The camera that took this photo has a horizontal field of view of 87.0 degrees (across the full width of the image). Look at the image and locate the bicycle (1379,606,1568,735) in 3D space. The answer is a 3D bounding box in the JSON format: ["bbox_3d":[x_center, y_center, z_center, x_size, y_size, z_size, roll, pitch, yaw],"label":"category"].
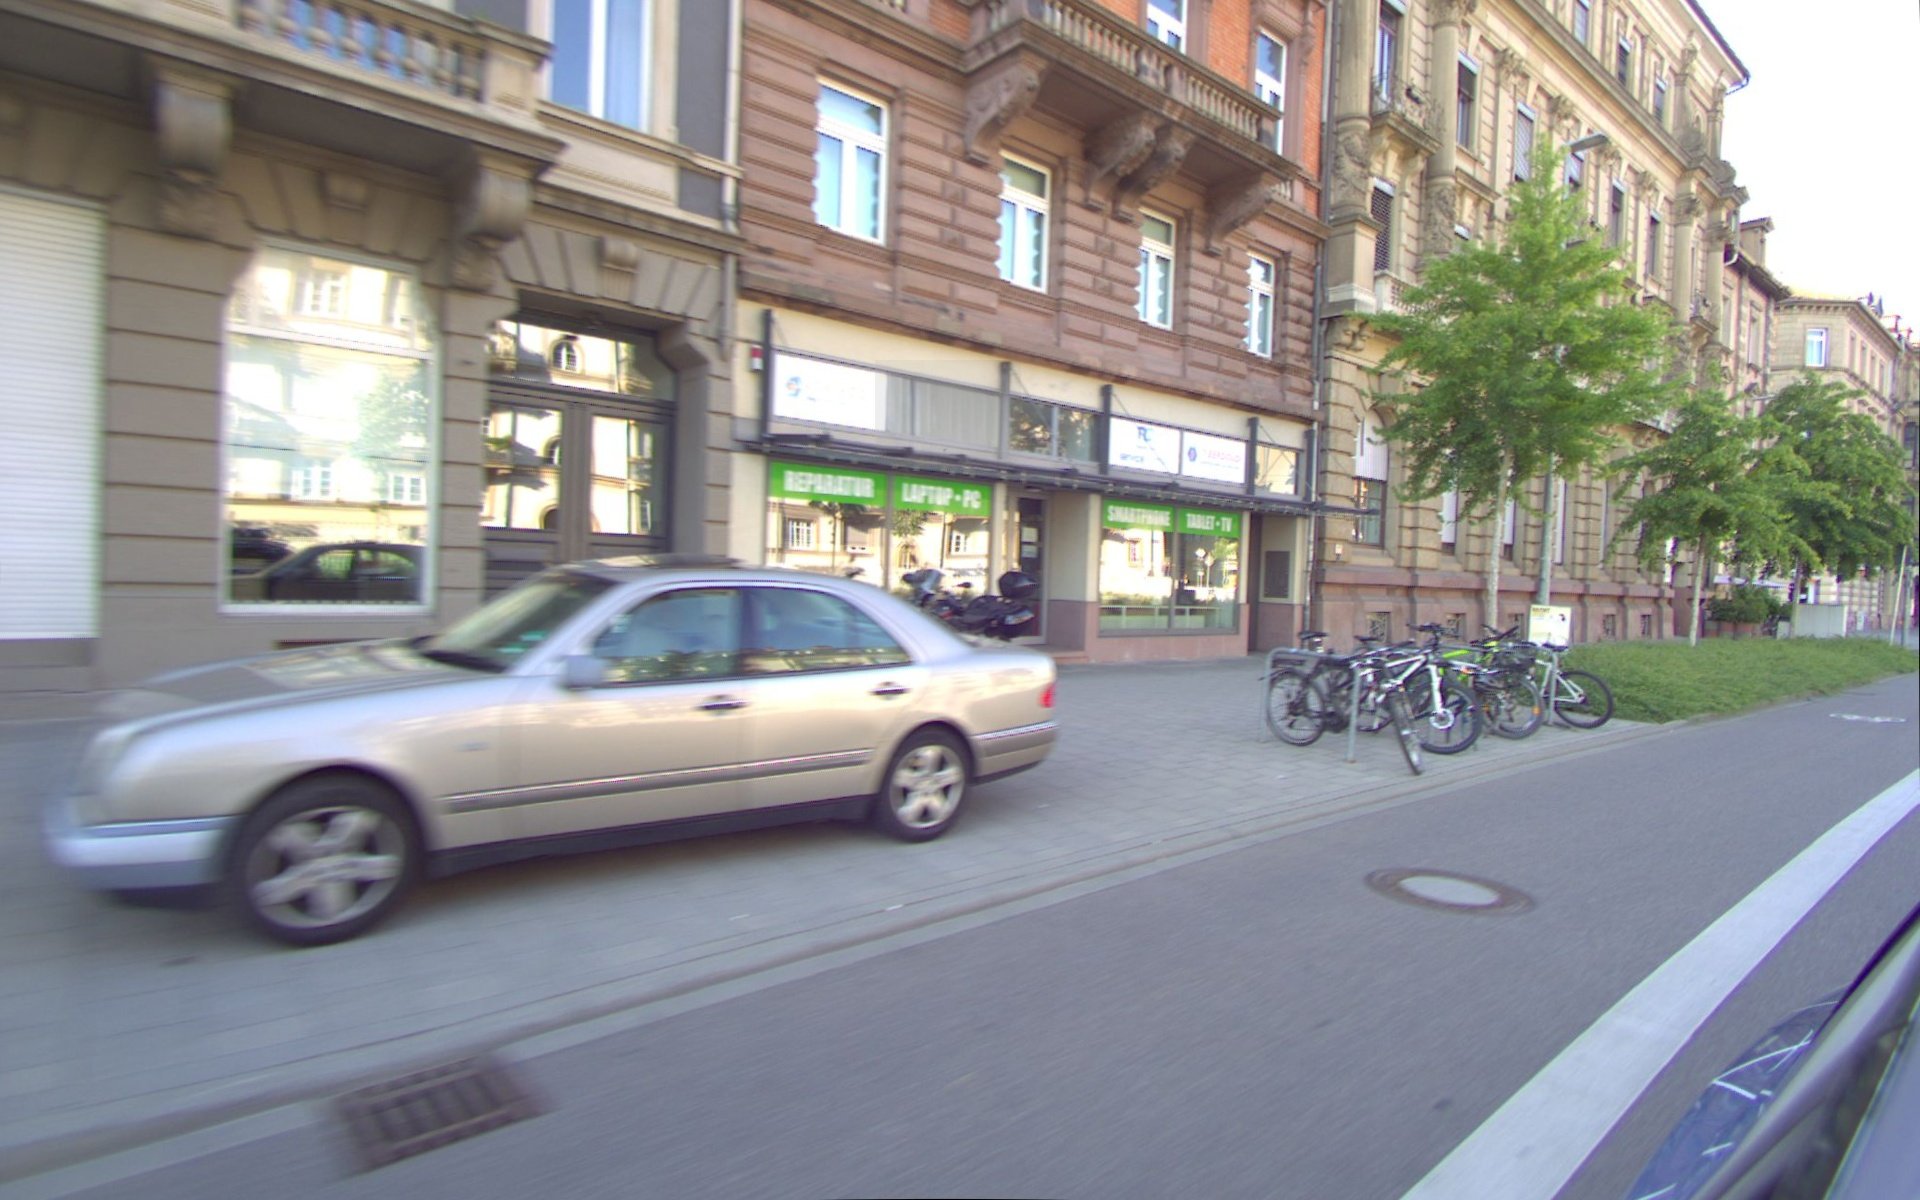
[{"bbox_3d":[5.148,0.659,10.229,0.566,1.132,1.585,1,1,-37],"label":"bicycle"}]

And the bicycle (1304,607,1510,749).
[{"bbox_3d":[4.122,0.676,9.453,0.520,1.132,1.694,1,1,-37],"label":"bicycle"}]

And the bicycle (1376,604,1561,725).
[{"bbox_3d":[5.421,0.649,10.892,0.520,1.132,1.694,1,1,-37],"label":"bicycle"}]

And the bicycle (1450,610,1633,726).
[{"bbox_3d":[6.517,0.720,11.408,0.521,1.132,1.690,1,2,-44],"label":"bicycle"}]

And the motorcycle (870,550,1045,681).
[{"bbox_3d":[0.001,0.165,12.105,2.017,1.439,0.788,1,1,-40],"label":"motorcycle"}]

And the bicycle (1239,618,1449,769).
[{"bbox_3d":[3.165,0.727,8.479,0.469,1.065,1.614,1,1,-37],"label":"bicycle"}]

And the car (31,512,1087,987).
[{"bbox_3d":[-1.614,0.441,5.313,4.656,1.502,1.696,1,3,-38],"label":"car"}]
